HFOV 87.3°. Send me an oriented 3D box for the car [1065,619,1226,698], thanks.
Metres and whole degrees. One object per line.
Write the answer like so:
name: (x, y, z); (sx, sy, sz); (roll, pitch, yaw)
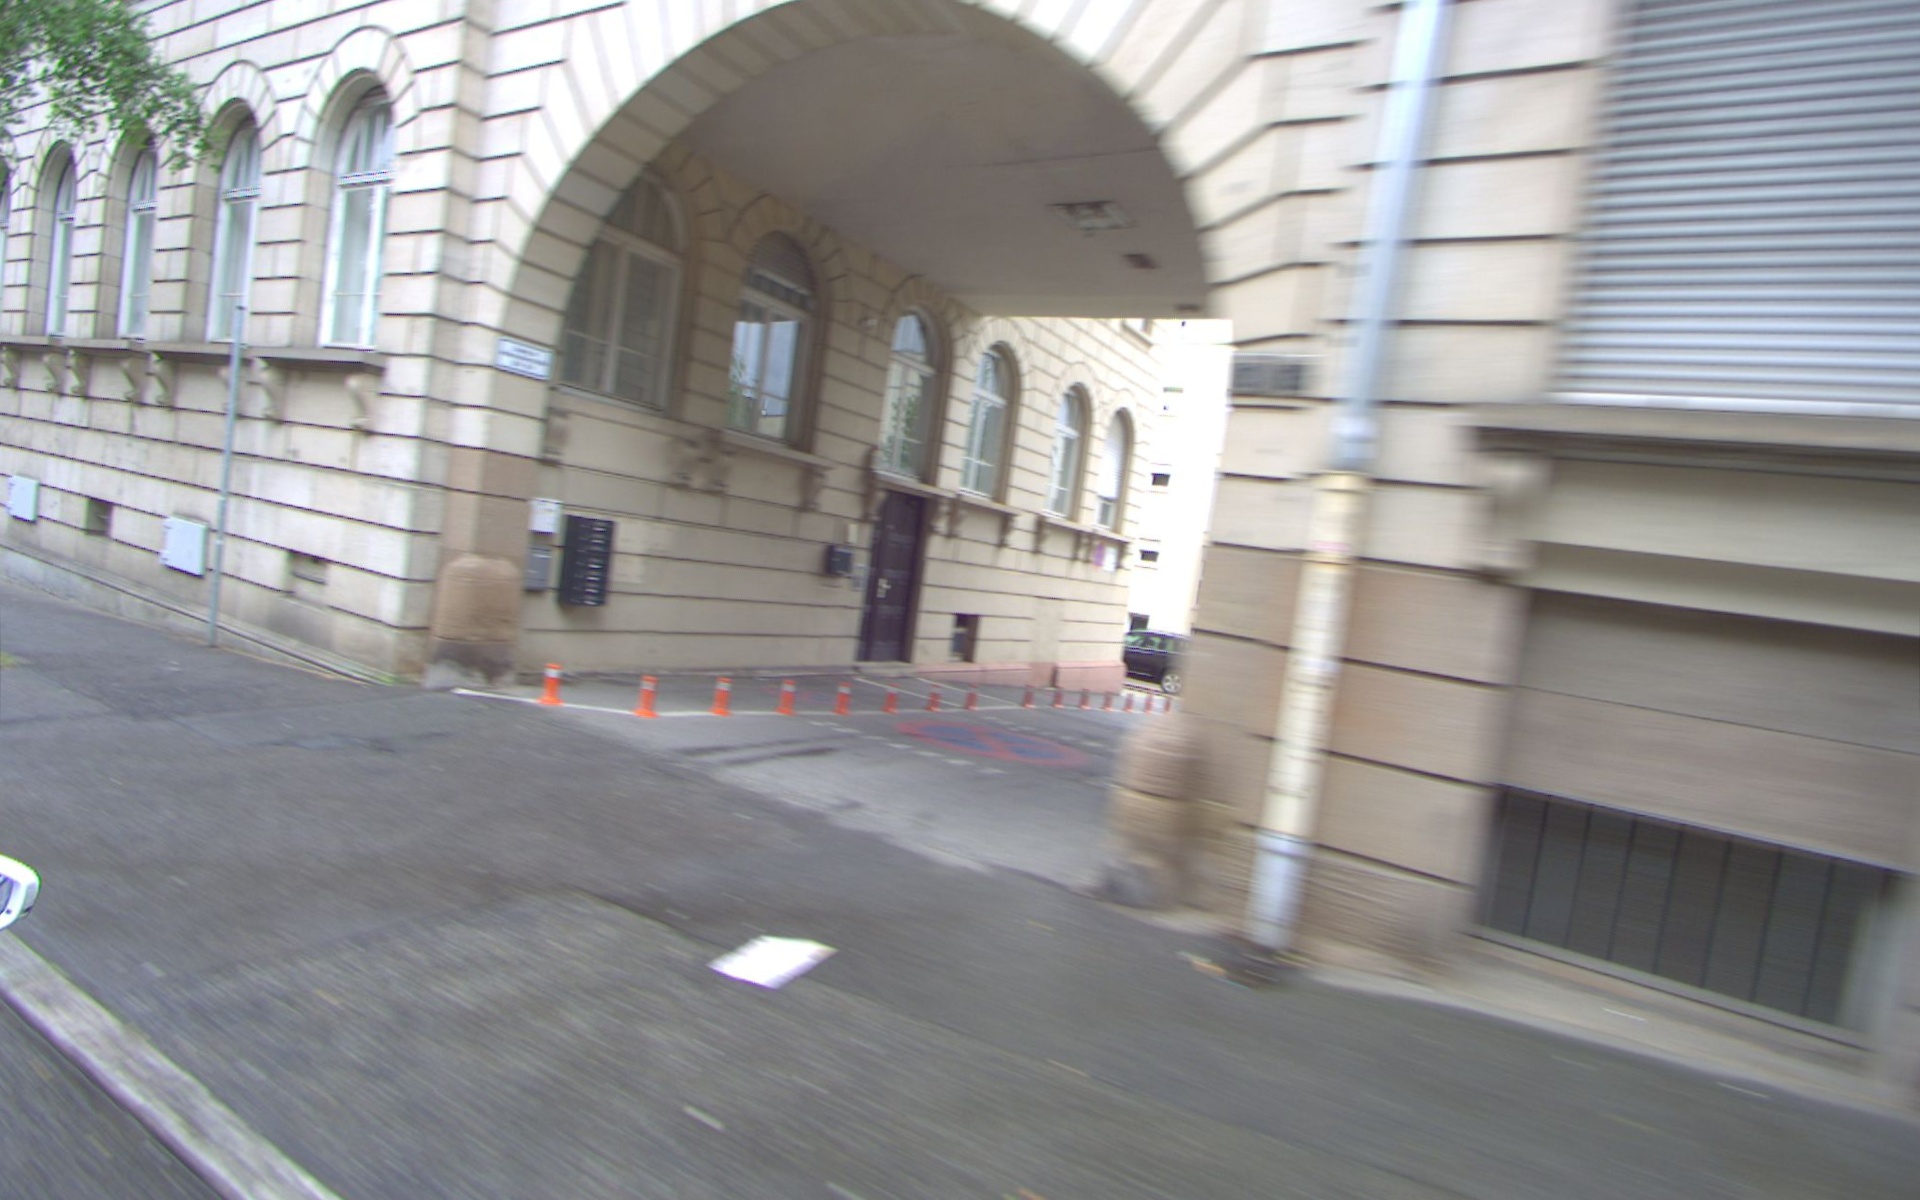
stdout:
car: (5.283, 1.649, 28.703); (4.027, 1.711, 1.777); (6, -1, 26)
